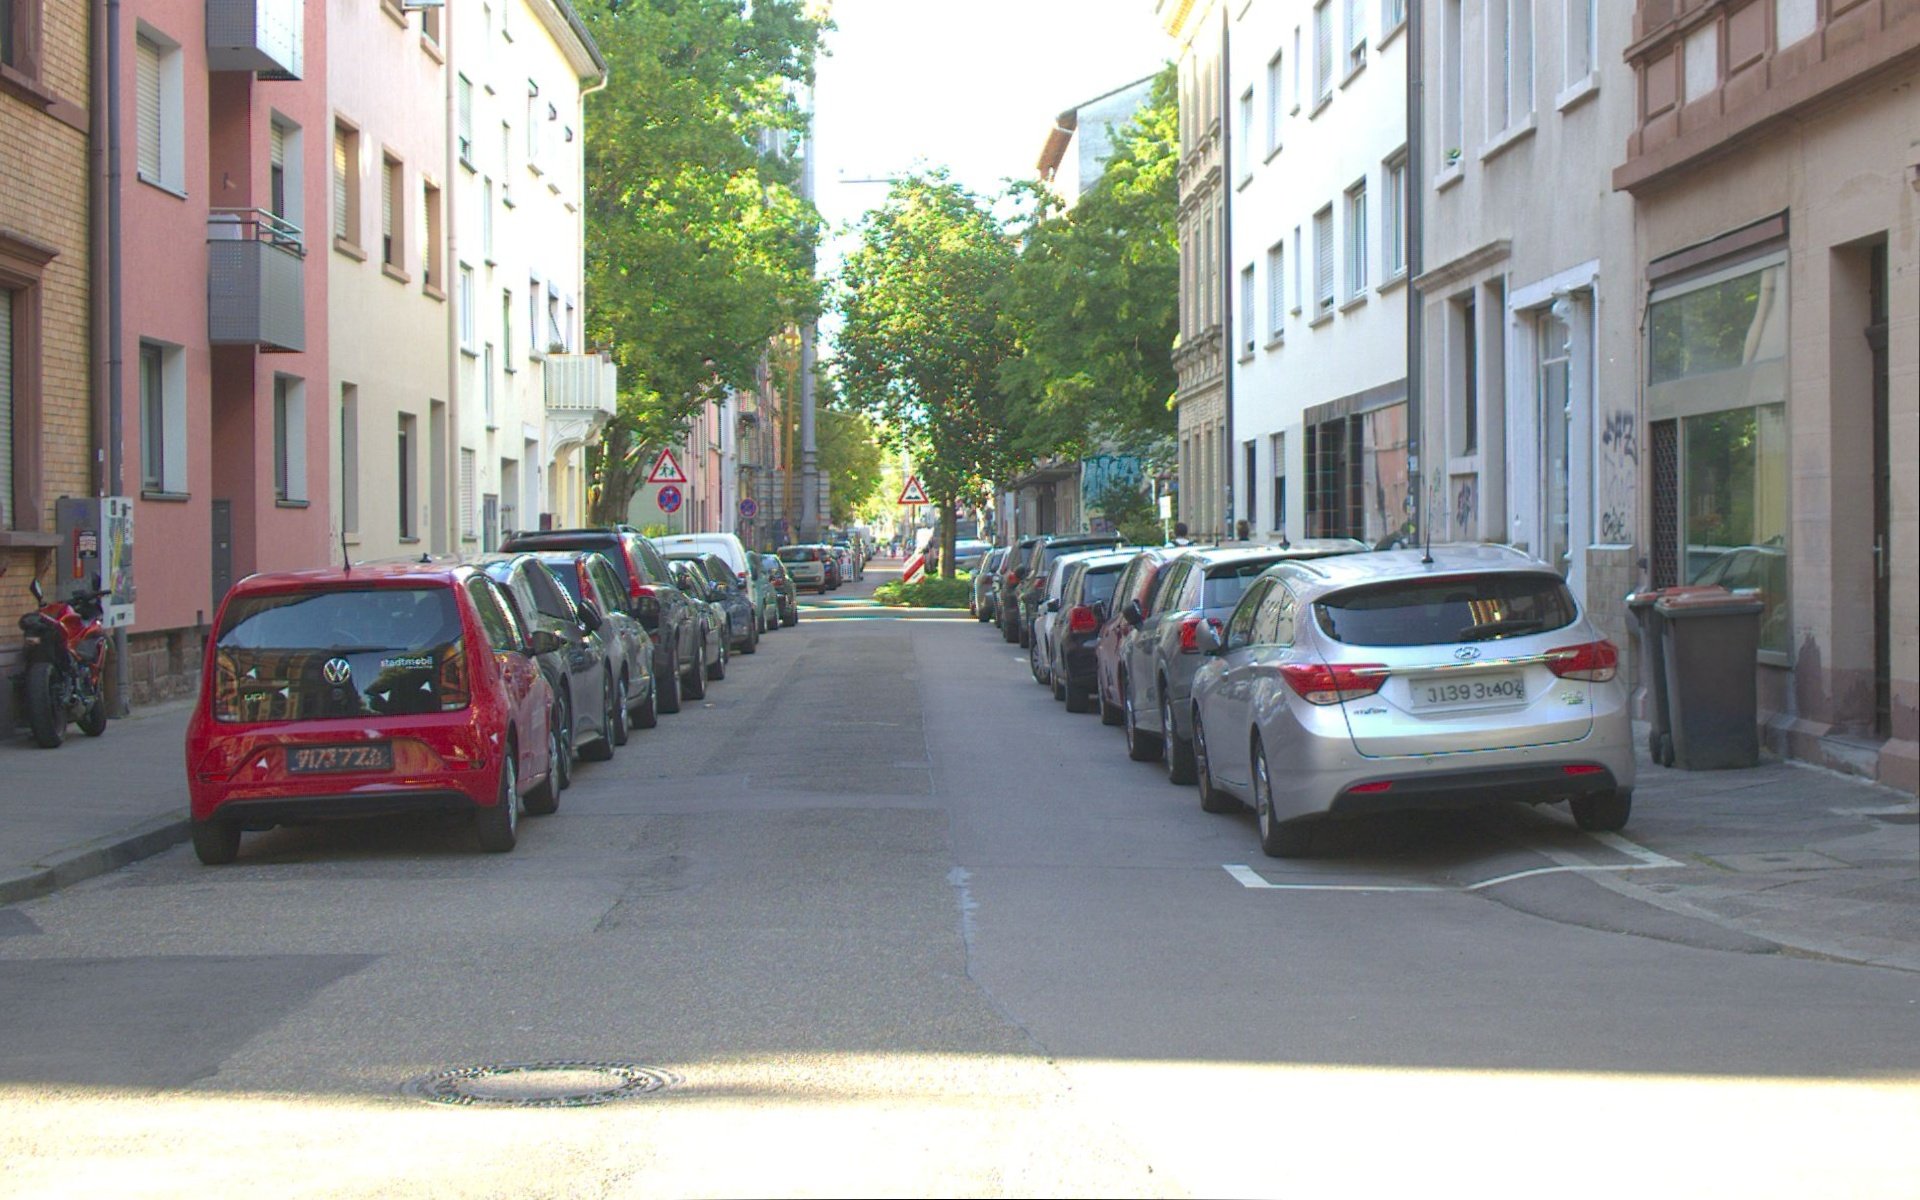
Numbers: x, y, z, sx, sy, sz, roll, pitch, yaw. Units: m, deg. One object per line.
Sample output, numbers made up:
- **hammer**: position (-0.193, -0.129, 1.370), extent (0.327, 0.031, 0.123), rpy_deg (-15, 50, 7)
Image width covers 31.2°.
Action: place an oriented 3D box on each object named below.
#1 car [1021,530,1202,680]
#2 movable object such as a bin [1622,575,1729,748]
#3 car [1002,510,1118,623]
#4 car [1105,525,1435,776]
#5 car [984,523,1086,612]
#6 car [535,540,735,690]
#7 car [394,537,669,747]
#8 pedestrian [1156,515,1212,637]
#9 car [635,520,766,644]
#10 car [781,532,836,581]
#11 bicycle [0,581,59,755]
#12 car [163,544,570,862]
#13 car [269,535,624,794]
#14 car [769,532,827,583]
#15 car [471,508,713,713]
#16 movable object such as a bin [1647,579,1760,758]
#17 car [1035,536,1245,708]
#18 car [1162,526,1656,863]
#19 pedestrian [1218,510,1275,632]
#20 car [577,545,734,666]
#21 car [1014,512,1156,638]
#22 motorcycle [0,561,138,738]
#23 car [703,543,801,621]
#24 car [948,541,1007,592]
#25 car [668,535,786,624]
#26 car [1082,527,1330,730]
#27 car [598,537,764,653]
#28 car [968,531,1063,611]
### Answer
- **car**: position (1.629, 0.015, 38.095), extent (1.675, 1.501, 3.938), rpy_deg (-2, 1, -2)
- **movable object such as a bin**: position (4.456, 0.377, 21.434), extent (0.514, 1.036, 0.594), rpy_deg (-2, 1, 0)
- **car**: position (1.562, -0.527, 54.935), extent (1.676, 1.676, 4.095), rpy_deg (-2, 0, 0)
- **car**: position (2.031, 0.272, 23.585), extent (1.744, 1.501, 4.021), rpy_deg (-2, 1, -2)
- **car**: position (1.376, -0.625, 64.517), extent (1.675, 1.556, 3.796), rpy_deg (-2, 1, -2)
- **car**: position (-3.612, 0.122, 38.882), extent (1.743, 1.501, 4.346), rpy_deg (-2, 1, 1)
- **car**: position (-3.431, 0.285, 28.176), extent (1.656, 1.516, 3.944), rpy_deg (-2, 1, 1)
- **pedestrian**: position (3.074, -0.336, 47.217), extent (0.685, 1.654, 0.717), rpy_deg (-1, 1, -1)
- **car**: position (-3.951, -0.312, 52.829), extent (1.765, 1.779, 4.039), rpy_deg (-2, 1, -2)
- **car**: position (-4.944, -1.441, 112.345), extent (1.675, 1.482, 4.095), rpy_deg (-2, 1, -2)
- **bicycle**: position (-6.385, 0.435, 22.310), extent (0.533, 1.070, 1.891), rpy_deg (4, 1, -1)
- **car**: position (-3.118, 0.475, 18.694), extent (1.628, 1.476, 3.601), rpy_deg (-2, 1, -2)
- **car**: position (-3.382, 0.363, 23.355), extent (1.695, 1.516, 4.096), rpy_deg (-2, 1, 1)
- **car**: position (-5.032, -1.352, 107.131), extent (1.675, 1.482, 4.095), rpy_deg (-2, 1, -2)
- **car**: position (-3.514, 0.042, 33.623), extent (1.743, 1.805, 4.672), rpy_deg (-2, 1, 1)
- **movable object such as a bin**: position (4.468, 0.405, 20.681), extent (0.514, 1.036, 0.619), rpy_deg (-2, 1, 0)
- **car**: position (1.695, 0.162, 33.534), extent (1.675, 1.501, 3.938), rpy_deg (-2, 1, -2)
- **car**: position (2.232, 0.392, 18.232), extent (1.743, 1.501, 4.358), rpy_deg (-2, 1, -4)
- **pedestrian**: position (3.916, -0.400, 47.068), extent (0.685, 1.654, 0.717), rpy_deg (-1, 1, -1)
- **car**: position (-3.842, 0.030, 43.910), extent (1.673, 1.383, 4.182), rpy_deg (-2, 1, -1)
- **car**: position (1.777, -0.386, 49.894), extent (1.676, 1.621, 4.251), rpy_deg (-4, 1, -2)
- **motorcycle**: position (-6.406, 0.331, 24.728), extent (0.533, 1.201, 1.909), rpy_deg (0, 1, 0)
- **car**: position (-3.962, -0.370, 66.047), extent (1.670, 1.356, 4.049), rpy_deg (-2, 1, -1)
- **car**: position (0.526, -1.060, 108.286), extent (1.675, 1.482, 3.638), rpy_deg (-2, 1, -2)
- **car**: position (-4.157, -0.388, 61.705), extent (1.670, 1.464, 3.820), rpy_deg (-2, 1, 2)
- **car**: position (1.973, 0.174, 28.644), extent (1.598, 1.501, 4.185), rpy_deg (-2, 1, -2)
- **car**: position (-3.874, -0.105, 48.301), extent (1.673, 1.481, 3.991), rpy_deg (-2, 1, 4)
- **car**: position (1.091, -0.607, 69.420), extent (1.675, 1.482, 4.095), rpy_deg (-2, 1, -2)
